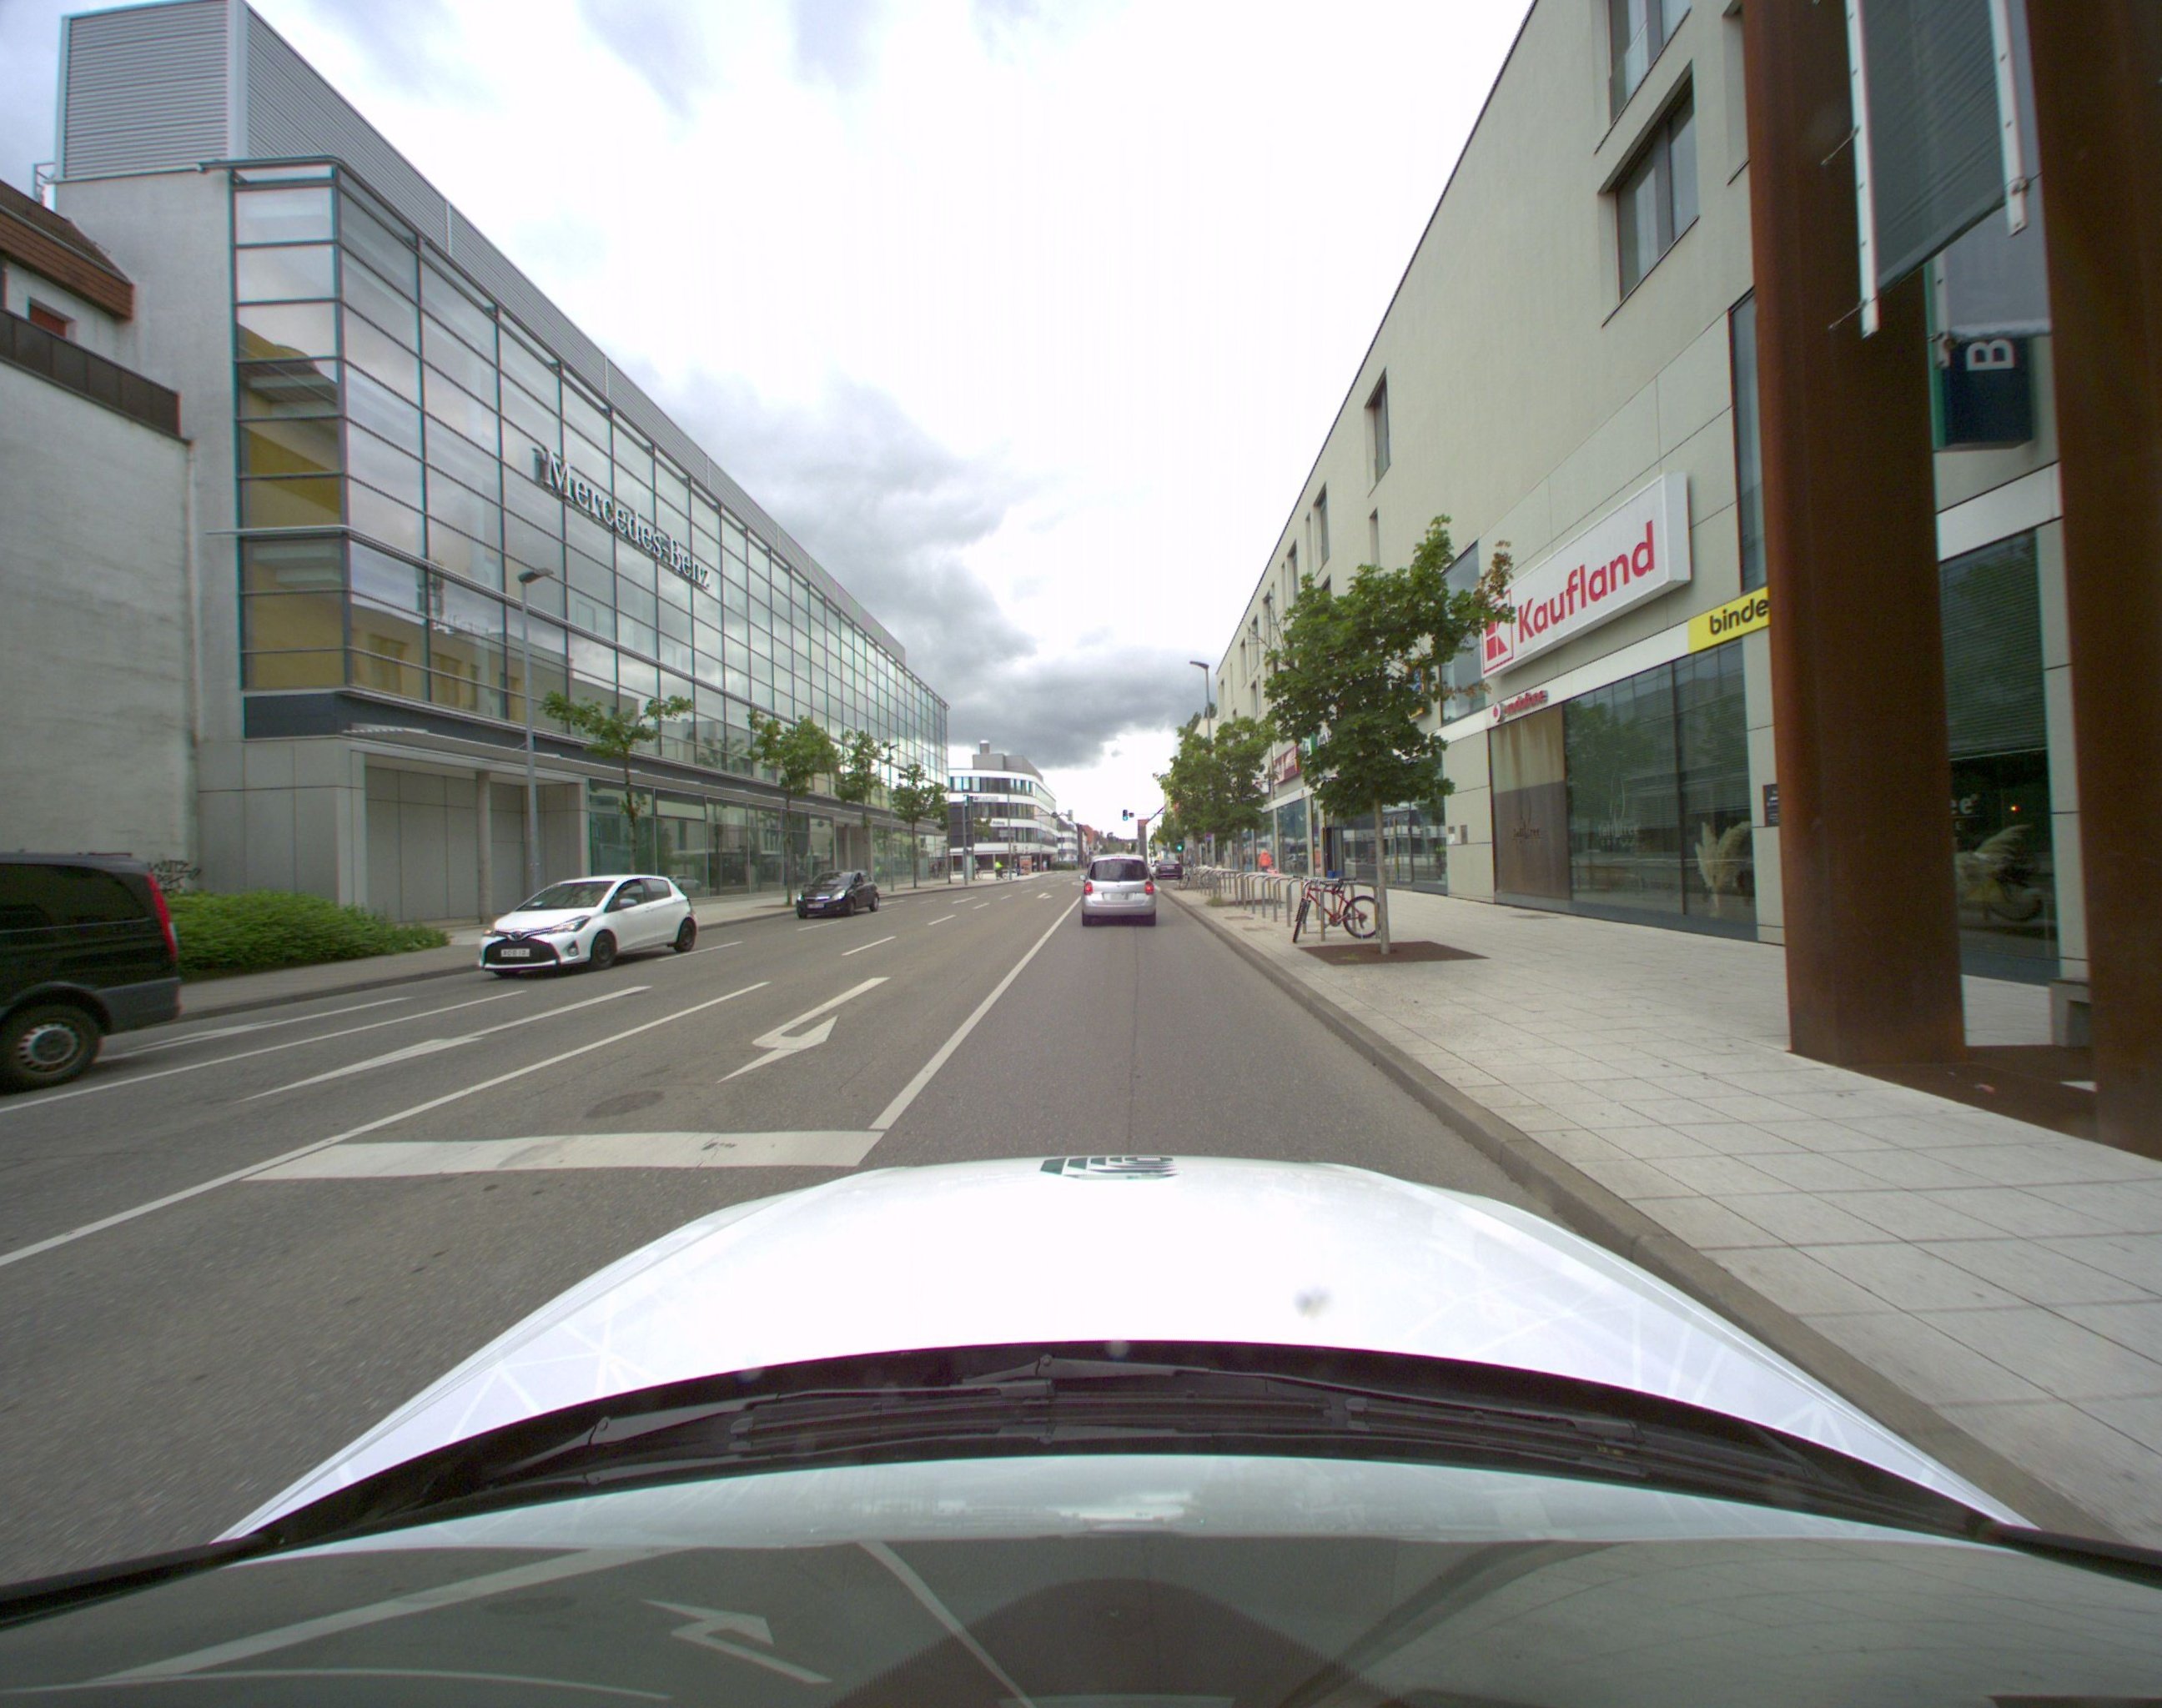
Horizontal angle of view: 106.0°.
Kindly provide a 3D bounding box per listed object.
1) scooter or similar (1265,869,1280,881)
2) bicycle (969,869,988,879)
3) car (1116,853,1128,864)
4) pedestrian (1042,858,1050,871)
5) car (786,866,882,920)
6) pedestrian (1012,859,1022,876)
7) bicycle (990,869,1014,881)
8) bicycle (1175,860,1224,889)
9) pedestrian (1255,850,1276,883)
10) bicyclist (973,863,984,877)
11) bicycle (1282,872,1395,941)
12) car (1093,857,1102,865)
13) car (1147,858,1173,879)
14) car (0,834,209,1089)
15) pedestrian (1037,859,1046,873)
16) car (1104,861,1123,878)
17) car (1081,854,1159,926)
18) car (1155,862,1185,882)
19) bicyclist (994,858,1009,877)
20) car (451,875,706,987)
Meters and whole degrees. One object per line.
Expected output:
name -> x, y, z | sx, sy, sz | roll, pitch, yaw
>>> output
scooter or similar -> 9.206, 1.013, 39.088 | 0.548, 0.546, 0.643 | -5, 0, 3
bicycle -> -9.833, 1.935, 77.937 | 0.832, 0.898, 2.501 | -2, 0, -30
car -> 7.793, 0.782, 155.090 | 2.161, 2.013, 4.261 | -2, 0, 3
pedestrian -> -4.960, 1.479, 115.026 | 0.957, 1.833, 1.251 | -2, 0, 3
car -> -7.865, 1.188, 26.307 | 1.653, 1.480, 4.003 | -3, 0, 3
pedestrian -> -7.110, 1.512, 90.741 | 0.959, 1.833, 1.248 | -3, 0, -5
bicycle -> -7.030, 1.839, 72.119 | 1.012, 1.018, 3.102 | 1, -1, -28
bicycle -> 4.768, 0.825, 32.804 | 1.819, 1.074, 0.752 | -3, 0, 0
pedestrian -> 9.039, 0.598, 39.900 | 0.707, 1.574, 0.813 | -5, -1, 3
bicyclist -> -9.847, 1.511, 77.944 | 0.832, 1.327, 0.645 | -2, -1, -31
bicycle -> 4.036, 0.811, 12.843 | 1.553, 0.992, 0.753 | -2, 0, 5
car -> 4.317, 1.877, 217.069 | 2.161, 2.013, 4.261 | -2, 0, 3
car -> 6.112, 1.094, 63.373 | 1.870, 1.509, 4.003 | 0, 0, 3
car -> -9.068, 0.846, 5.054 | 1.858, 1.909, 4.901 | -3, 0, 2
pedestrian -> -5.379, 1.679, 110.224 | 0.957, 1.833, 1.251 | -2, 0, 3
car -> 3.188, 1.527, 80.119 | 1.664, 1.554, 3.641 | 0, 0, 0
car -> 0.847, 0.774, 19.269 | 1.664, 1.554, 3.642 | 0, 0, 0
car -> 6.182, 1.248, 57.104 | 1.870, 1.335, 4.003 | 0, 0, 3
bicyclist -> -7.032, 1.195, 72.141 | 1.012, 1.660, 0.924 | 1, -1, -28
car -> -8.241, 1.168, 13.851 | 1.653, 1.465, 4.003 | -3, 0, 3
